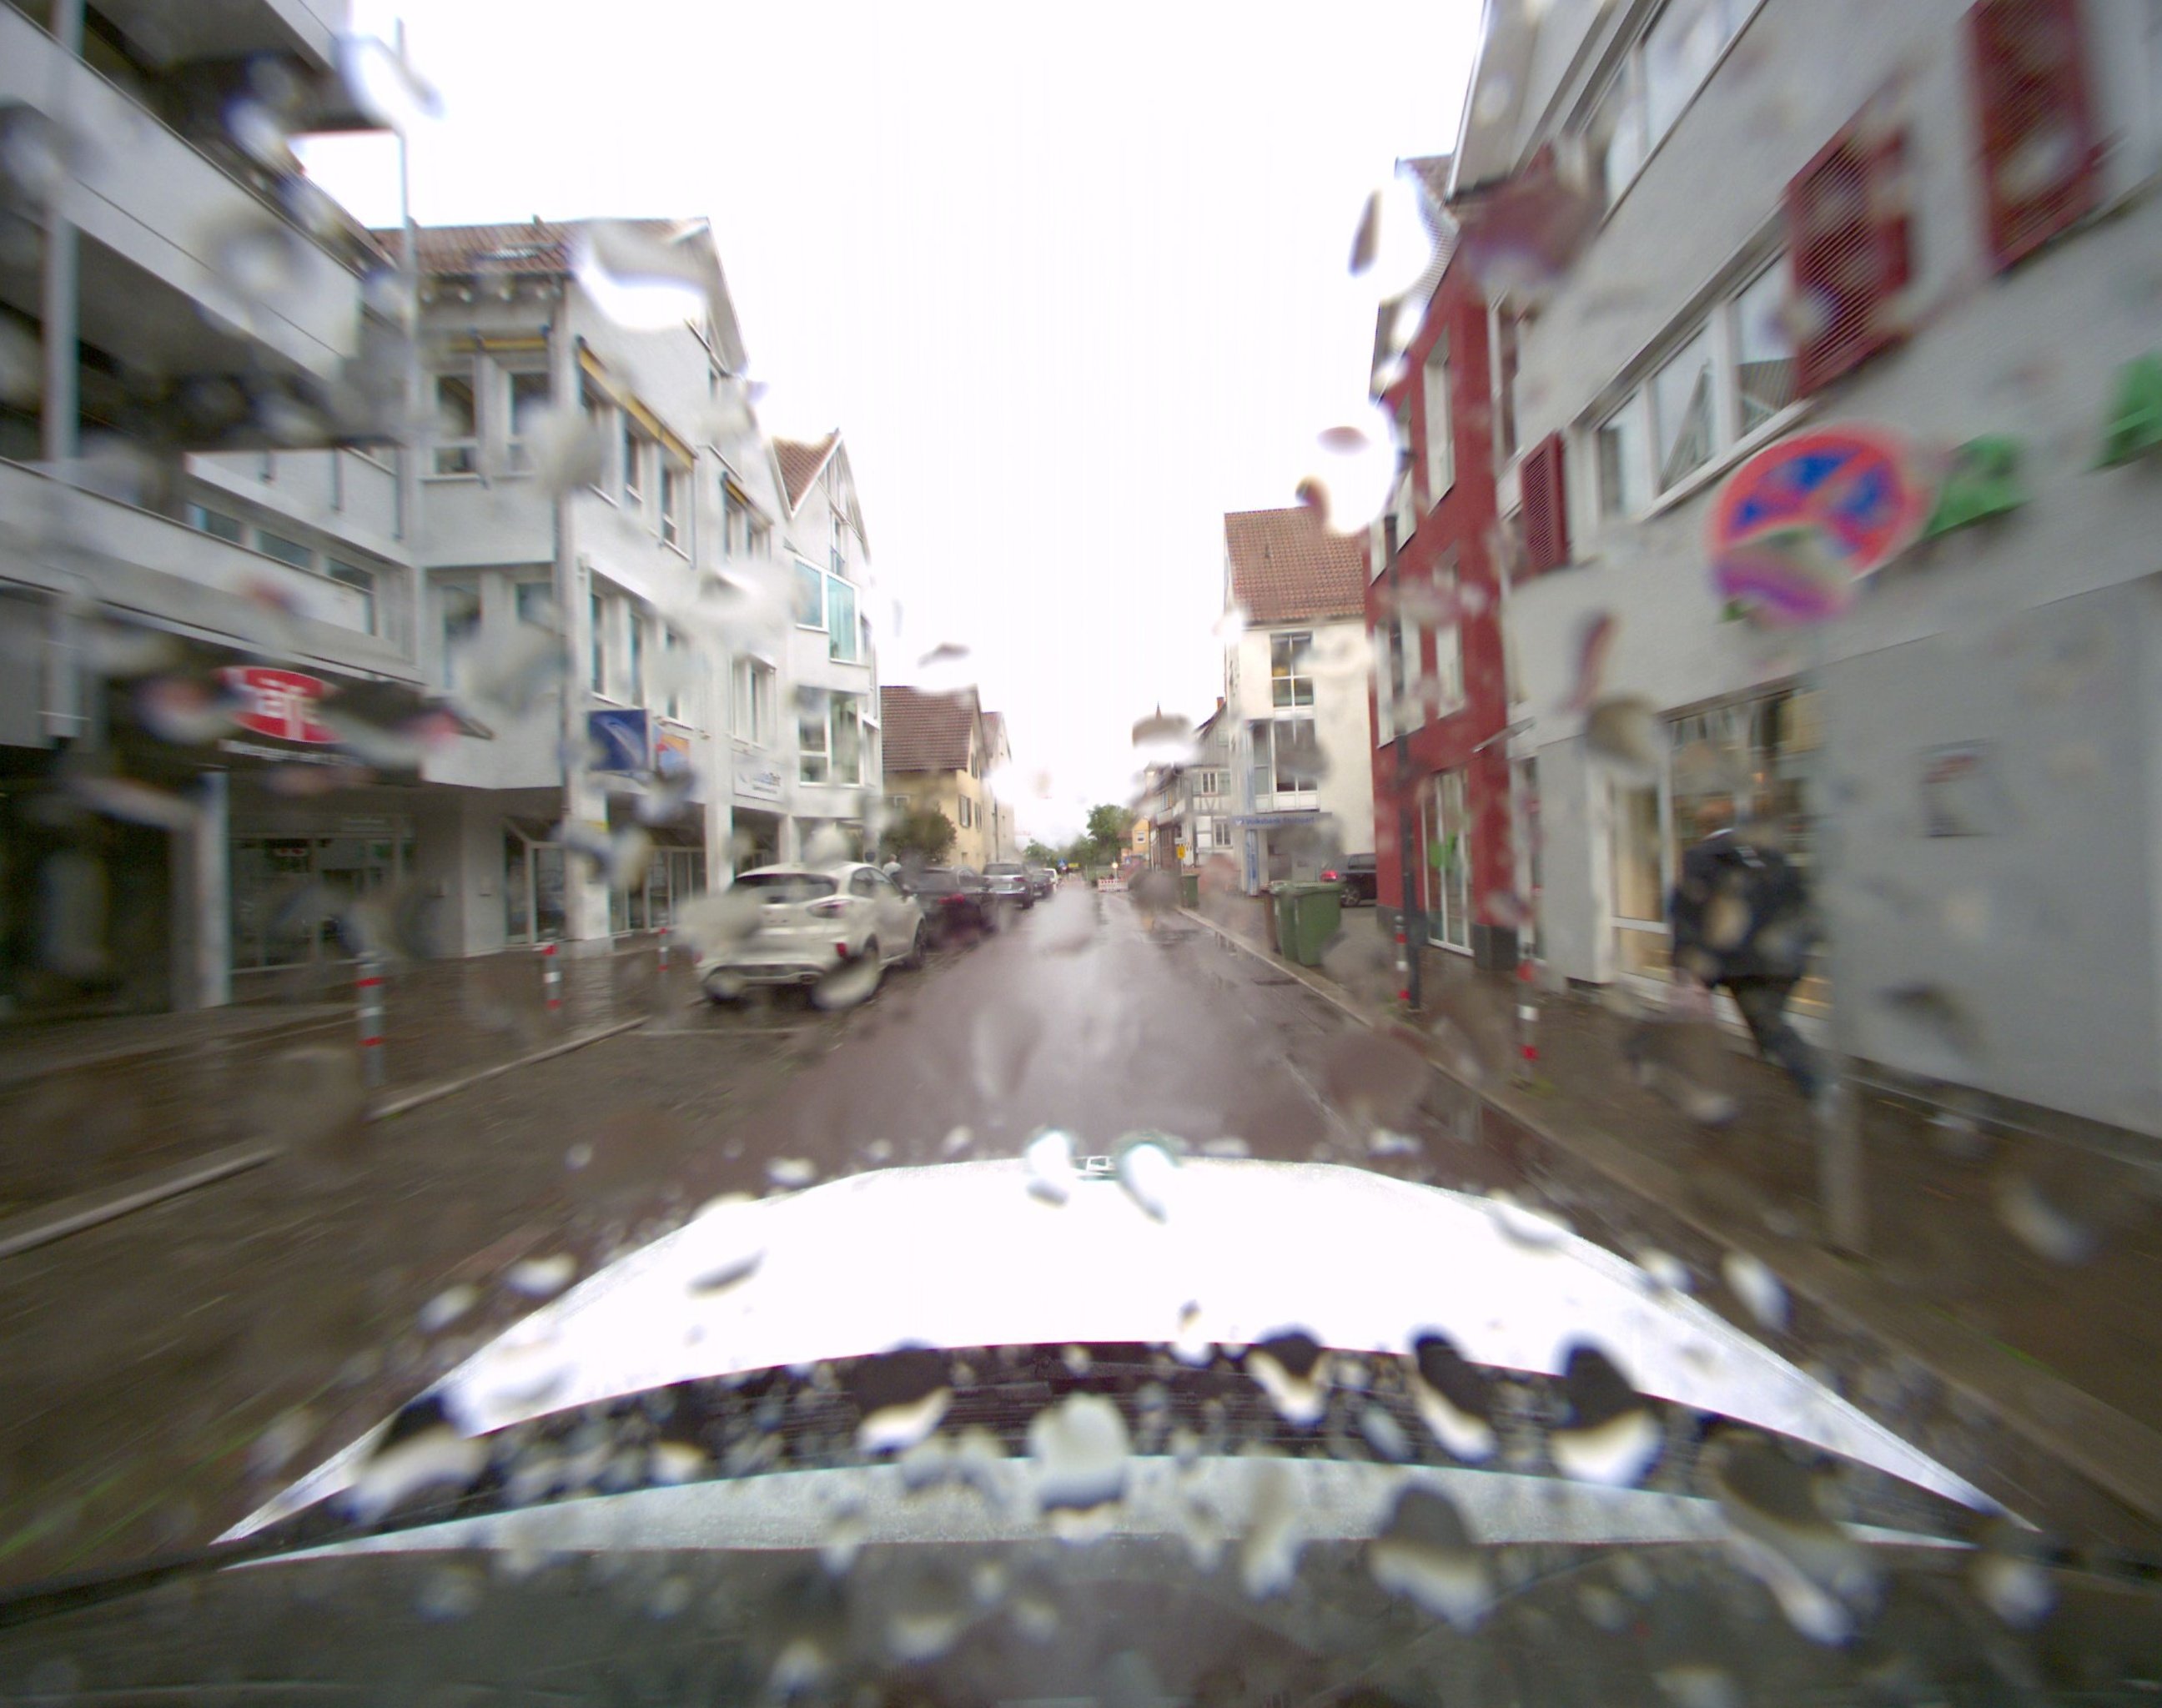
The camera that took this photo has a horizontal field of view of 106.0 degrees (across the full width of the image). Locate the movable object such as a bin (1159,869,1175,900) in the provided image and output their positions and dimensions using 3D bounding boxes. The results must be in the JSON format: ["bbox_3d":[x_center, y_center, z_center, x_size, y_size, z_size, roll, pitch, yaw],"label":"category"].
[{"bbox_3d":[3.748,1.338,35.556,0.635,1.290,0.633,-2,-3,6],"label":"movable object such as a bin"}]

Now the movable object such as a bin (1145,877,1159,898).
[{"bbox_3d":[3.979,1.874,45.679,0.636,1.147,0.631,-2,-3,-1],"label":"movable object such as a bin"}]

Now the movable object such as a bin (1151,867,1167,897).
[{"bbox_3d":[3.481,1.250,36.316,0.635,1.290,0.633,-2,-3,6],"label":"movable object such as a bin"}]

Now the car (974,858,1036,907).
[{"bbox_3d":[-2.627,1.028,28.988,1.774,1.569,4.406,-2,-3,-1],"label":"car"}]

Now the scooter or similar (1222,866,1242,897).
[{"bbox_3d":[5.876,1.080,31.762,0.661,1.146,1.449,-2,-3,8],"label":"scooter or similar"}]

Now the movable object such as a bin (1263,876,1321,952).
[{"bbox_3d":[3.202,0.900,12.420,0.707,1.094,0.614,-2,-2,2],"label":"movable object such as a bin"}]

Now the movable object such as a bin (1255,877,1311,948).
[{"bbox_3d":[3.229,0.924,13.070,0.726,1.081,0.647,-2,-2,2],"label":"movable object such as a bin"}]

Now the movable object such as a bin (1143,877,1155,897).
[{"bbox_3d":[3.873,1.888,46.362,0.635,1.147,0.604,-2,-3,6],"label":"movable object such as a bin"}]

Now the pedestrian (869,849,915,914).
[{"bbox_3d":[-5.475,0.787,23.649,1.031,1.806,1.116,-1,-1,1],"label":"pedestrian"}]

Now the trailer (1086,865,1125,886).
[{"bbox_3d":[3.719,3.323,125.460,5.770,2.948,1.997,-2,-3,-4],"label":"trailer"}]

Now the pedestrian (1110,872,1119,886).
[{"bbox_3d":[4.115,3.066,100.404,0.988,1.759,0.850,-2,-3,-5],"label":"pedestrian"}]

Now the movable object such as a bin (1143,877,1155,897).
[{"bbox_3d":[3.918,1.905,46.976,0.635,1.147,0.581,-2,-3,6],"label":"movable object such as a bin"}]

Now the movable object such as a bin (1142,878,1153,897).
[{"bbox_3d":[4.034,2.015,49.259,0.607,1.128,0.599,-2,-3,1],"label":"movable object such as a bin"}]

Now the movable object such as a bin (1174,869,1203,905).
[{"bbox_3d":[3.498,1.095,26.651,0.801,1.131,0.862,-2,-3,-1],"label":"movable object such as a bin"}]

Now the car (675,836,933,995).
[{"bbox_3d":[-3.146,0.699,10.172,1.785,1.551,4.000,-1,-3,1],"label":"car"}]

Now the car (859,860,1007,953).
[{"bbox_3d":[-2.749,0.923,16.295,1.823,1.499,4.766,-3,-1,3],"label":"car"}]

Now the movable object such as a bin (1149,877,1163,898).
[{"bbox_3d":[4.030,1.798,43.854,0.676,1.097,0.650,-1,-2,-3],"label":"movable object such as a bin"}]

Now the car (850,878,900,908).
[{"bbox_3d":[-10.454,1.994,41.526,1.676,1.389,3.821,-2,-3,-2],"label":"car"}]

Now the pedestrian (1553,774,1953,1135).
[{"bbox_3d":[3.649,0.496,4.598,1.174,1.697,1.177,-3,-1,-2],"label":"pedestrian"}]

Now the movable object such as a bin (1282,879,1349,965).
[{"bbox_3d":[3.136,0.891,10.939,0.673,1.086,0.718,-2,-2,3],"label":"movable object such as a bin"}]

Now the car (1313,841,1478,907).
[{"bbox_3d":[8.623,0.587,22.672,3.961,1.515,1.917,-4,-3,11],"label":"car"}]

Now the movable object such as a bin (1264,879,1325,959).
[{"bbox_3d":[3.045,0.917,11.683,0.673,1.084,0.698,-2,-2,2],"label":"movable object such as a bin"}]

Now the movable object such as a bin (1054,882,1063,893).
[{"bbox_3d":[-2.183,3.199,78.487,0.538,1.033,0.538,-7,-5,34],"label":"movable object such as a bin"}]

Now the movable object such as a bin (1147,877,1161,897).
[{"bbox_3d":[4.024,1.826,44.985,0.667,1.081,0.587,-3,-3,-1],"label":"movable object such as a bin"}]

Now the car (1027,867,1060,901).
[{"bbox_3d":[-2.171,1.779,47.967,1.718,1.825,4.425,-2,-3,-1],"label":"car"}]

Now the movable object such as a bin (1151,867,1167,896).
[{"bbox_3d":[3.550,1.269,37.001,0.635,1.290,0.633,-2,-3,6],"label":"movable object such as a bin"}]
